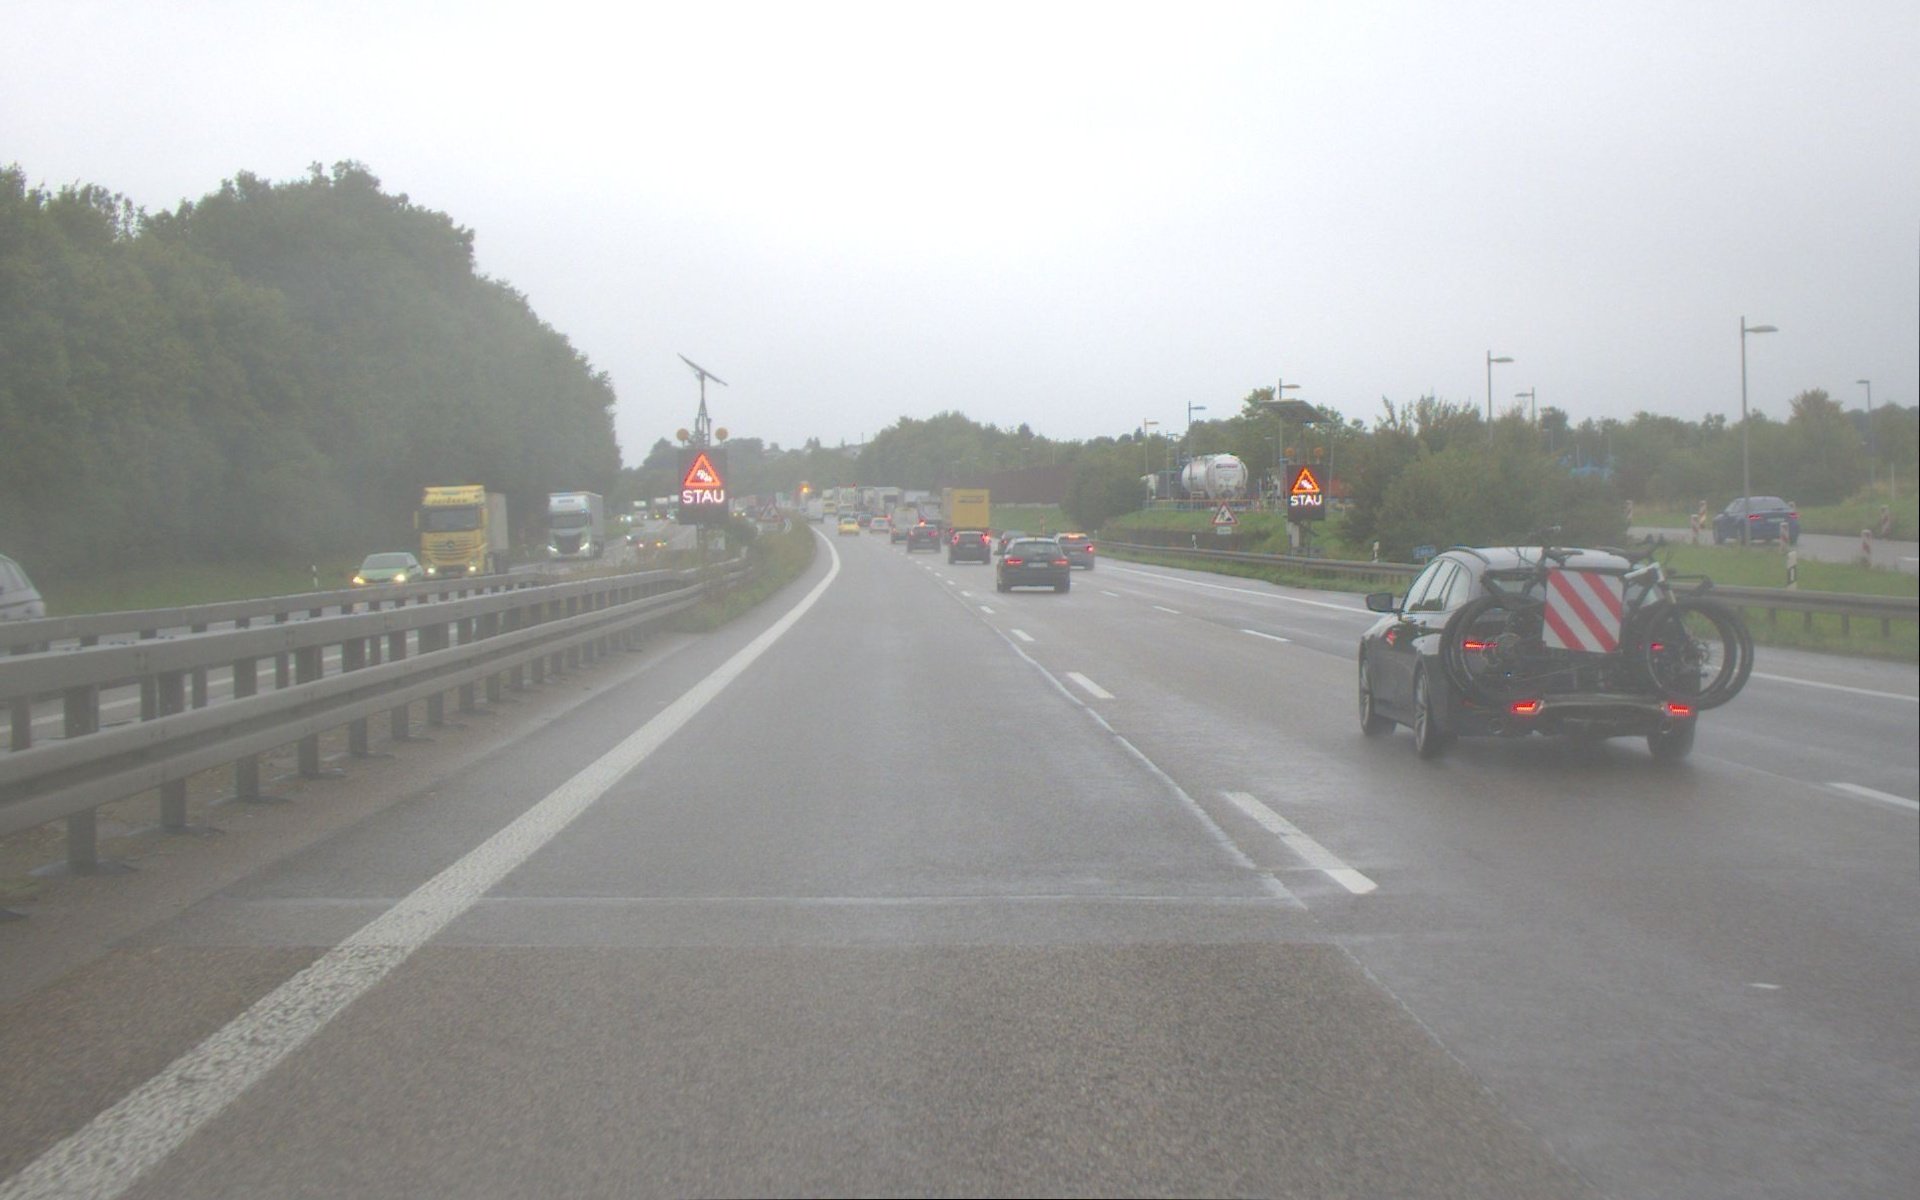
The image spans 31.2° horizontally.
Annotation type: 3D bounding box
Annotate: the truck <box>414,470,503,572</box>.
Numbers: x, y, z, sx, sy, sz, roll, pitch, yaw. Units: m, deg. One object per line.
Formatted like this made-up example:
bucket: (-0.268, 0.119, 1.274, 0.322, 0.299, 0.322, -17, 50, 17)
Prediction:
truck: (-20.764, -3.287, 142.678, 2.762, 4.041, 6.158, -3, 1, -2)

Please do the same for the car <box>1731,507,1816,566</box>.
car: (24.822, -1.952, 105.018, 1.922, 1.703, 4.000, -1, 1, 5)

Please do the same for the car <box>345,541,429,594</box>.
car: (-17.501, -1.003, 105.194, 1.874, 1.488, 4.514, -2, 1, -1)

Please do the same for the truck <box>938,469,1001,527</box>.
truck: (0.612, -7.219, 244.336, 3.924, 3.967, 12.241, -2, 1, -2)

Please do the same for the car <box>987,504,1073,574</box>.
car: (1.824, -1.633, 90.576, 1.993, 1.755, 4.001, -2, 1, -2)

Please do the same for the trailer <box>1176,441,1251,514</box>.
trailer: (15.197, -7.315, 207.174, 2.985, 4.142, 12.958, -2, 1, -2)

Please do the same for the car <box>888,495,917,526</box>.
car: (-4.178, -6.513, 250.899, 1.993, 2.197, 4.001, -2, 1, -2)

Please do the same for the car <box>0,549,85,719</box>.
car: (-10.425, 0.353, 34.776, 1.923, 1.650, 4.791, -2, 1, -1)

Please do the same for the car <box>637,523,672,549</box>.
car: (-19.105, -4.016, 215.167, 1.874, 1.488, 4.514, -2, 1, -1)

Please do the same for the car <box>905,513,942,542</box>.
car: (-2.145, -4.218, 200.025, 1.993, 1.623, 4.001, -2, 1, -2)

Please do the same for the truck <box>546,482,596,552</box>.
truck: (-23.723, -5.069, 209.822, 2.643, 4.222, 4.001, -1, 1, -1)

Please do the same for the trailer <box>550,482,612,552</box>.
trailer: (-23.916, -5.276, 217.553, 2.643, 4.222, 13.913, -1, 2, -1)

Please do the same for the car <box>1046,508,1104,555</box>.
car: (4.558, -2.739, 136.684, 1.993, 1.755, 4.001, 2, 1, -2)

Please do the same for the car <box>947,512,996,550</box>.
car: (0.497, -3.116, 154.622, 1.993, 1.623, 4.001, -2, 1, -2)

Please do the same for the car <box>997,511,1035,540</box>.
car: (3.207, -4.296, 197.971, 1.993, 1.623, 4.001, -2, 1, -2)

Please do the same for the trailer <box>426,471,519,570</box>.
trailer: (-20.920, -3.430, 147.996, 2.762, 4.041, 9.202, -3, 1, -2)

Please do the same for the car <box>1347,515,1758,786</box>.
car: (3.974, 0.286, 24.030, 2.058, 1.665, 5.521, 0, 0, 2)
